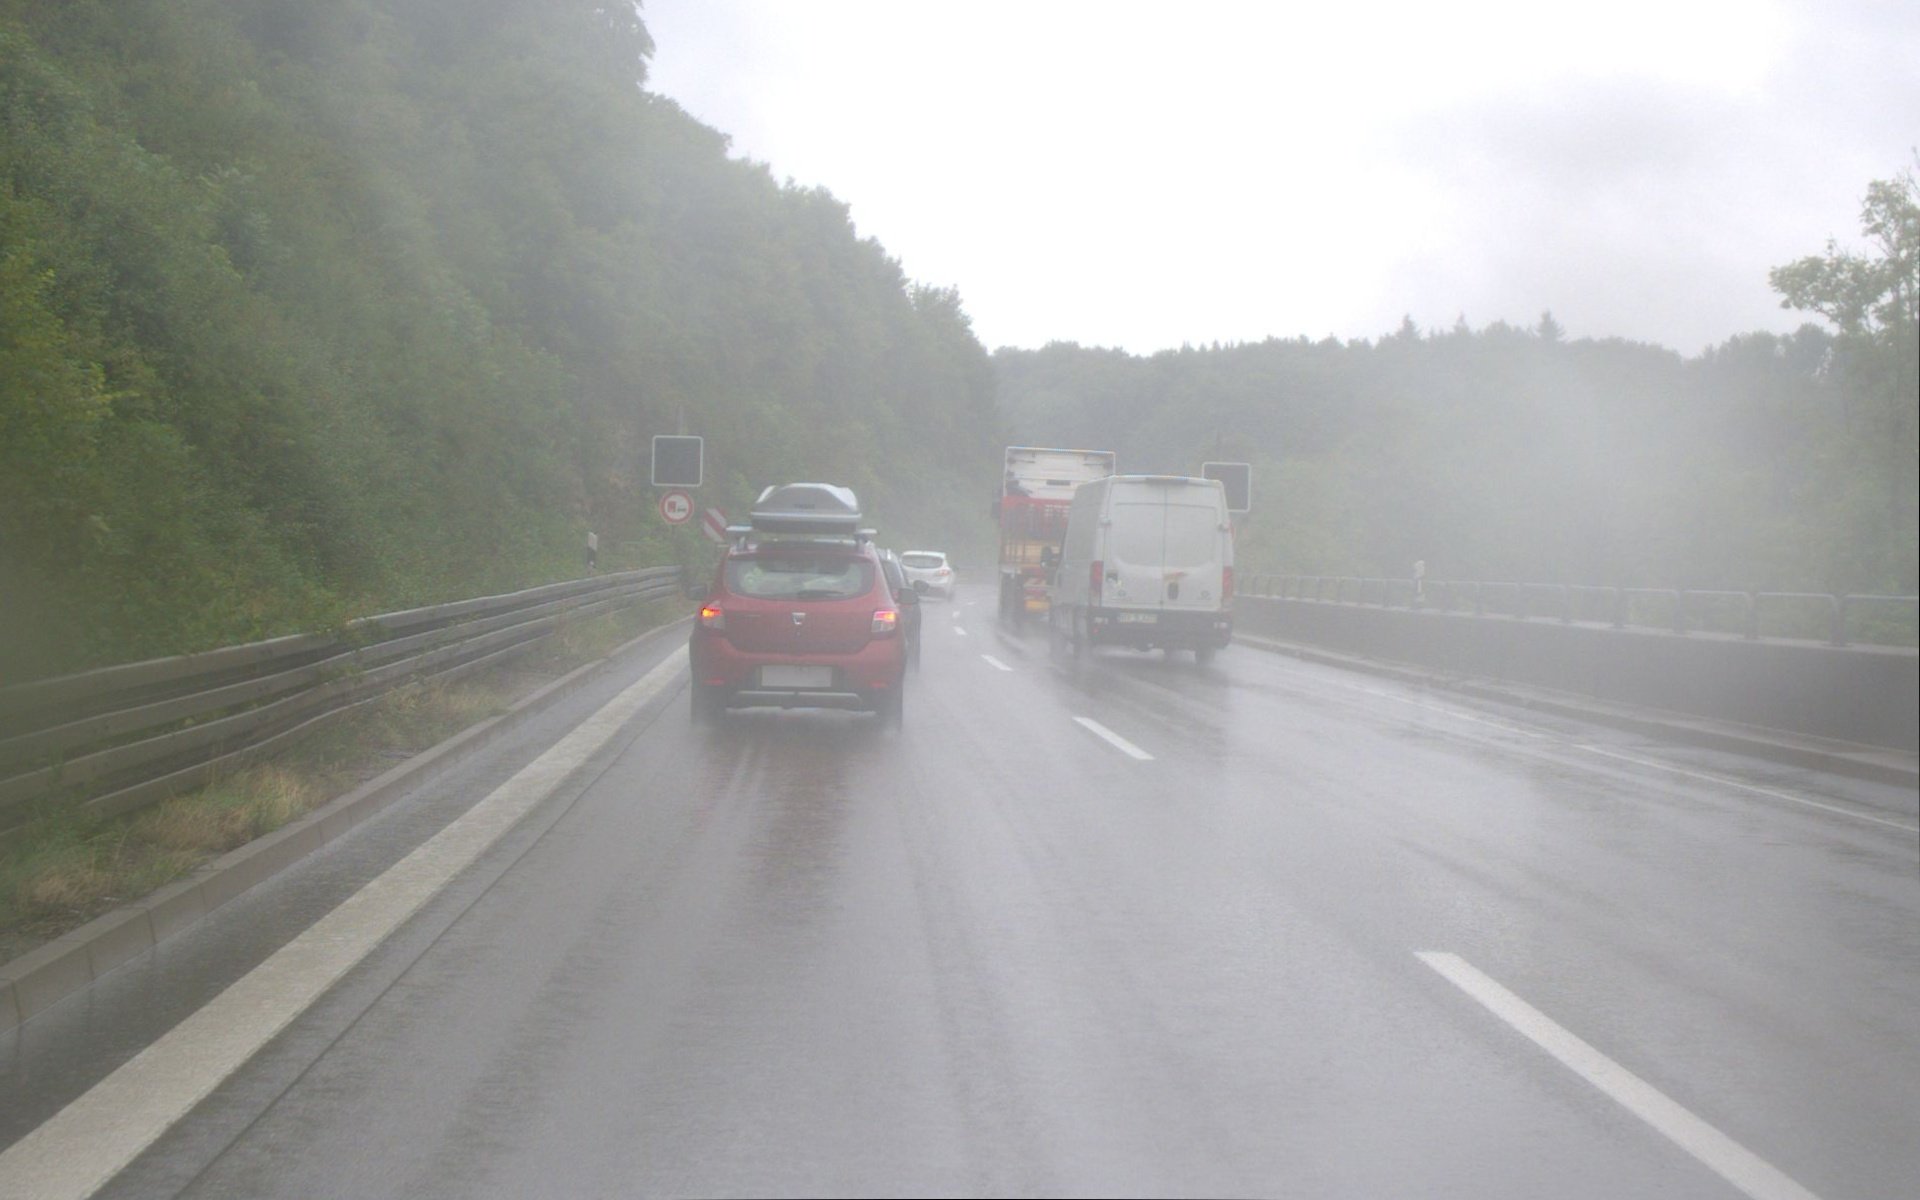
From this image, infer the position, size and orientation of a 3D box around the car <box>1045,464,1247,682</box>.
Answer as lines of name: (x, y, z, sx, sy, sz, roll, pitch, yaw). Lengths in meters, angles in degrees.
car: (2.559, -0.417, 49.304, 2.206, 2.784, 7.383, 3, 1, -1)

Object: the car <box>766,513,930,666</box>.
car: (-1.311, -0.128, 40.552, 1.832, 1.709, 3.645, -1, 0, -1)

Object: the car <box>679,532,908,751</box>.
car: (-1.348, 0.311, 28.627, 1.758, 1.679, 4.000, -1, 0, -2)

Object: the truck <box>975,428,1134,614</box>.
truck: (2.059, -1.750, 77.430, 3.219, 3.964, 5.439, 2, 1, -1)

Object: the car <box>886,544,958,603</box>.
car: (-1.064, -0.763, 98.097, 1.993, 1.634, 4.000, -1, 0, 0)

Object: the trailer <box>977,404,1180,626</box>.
trailer: (2.218, -1.650, 69.959, 3.218, 3.985, 13.525, 2, 1, -1)
